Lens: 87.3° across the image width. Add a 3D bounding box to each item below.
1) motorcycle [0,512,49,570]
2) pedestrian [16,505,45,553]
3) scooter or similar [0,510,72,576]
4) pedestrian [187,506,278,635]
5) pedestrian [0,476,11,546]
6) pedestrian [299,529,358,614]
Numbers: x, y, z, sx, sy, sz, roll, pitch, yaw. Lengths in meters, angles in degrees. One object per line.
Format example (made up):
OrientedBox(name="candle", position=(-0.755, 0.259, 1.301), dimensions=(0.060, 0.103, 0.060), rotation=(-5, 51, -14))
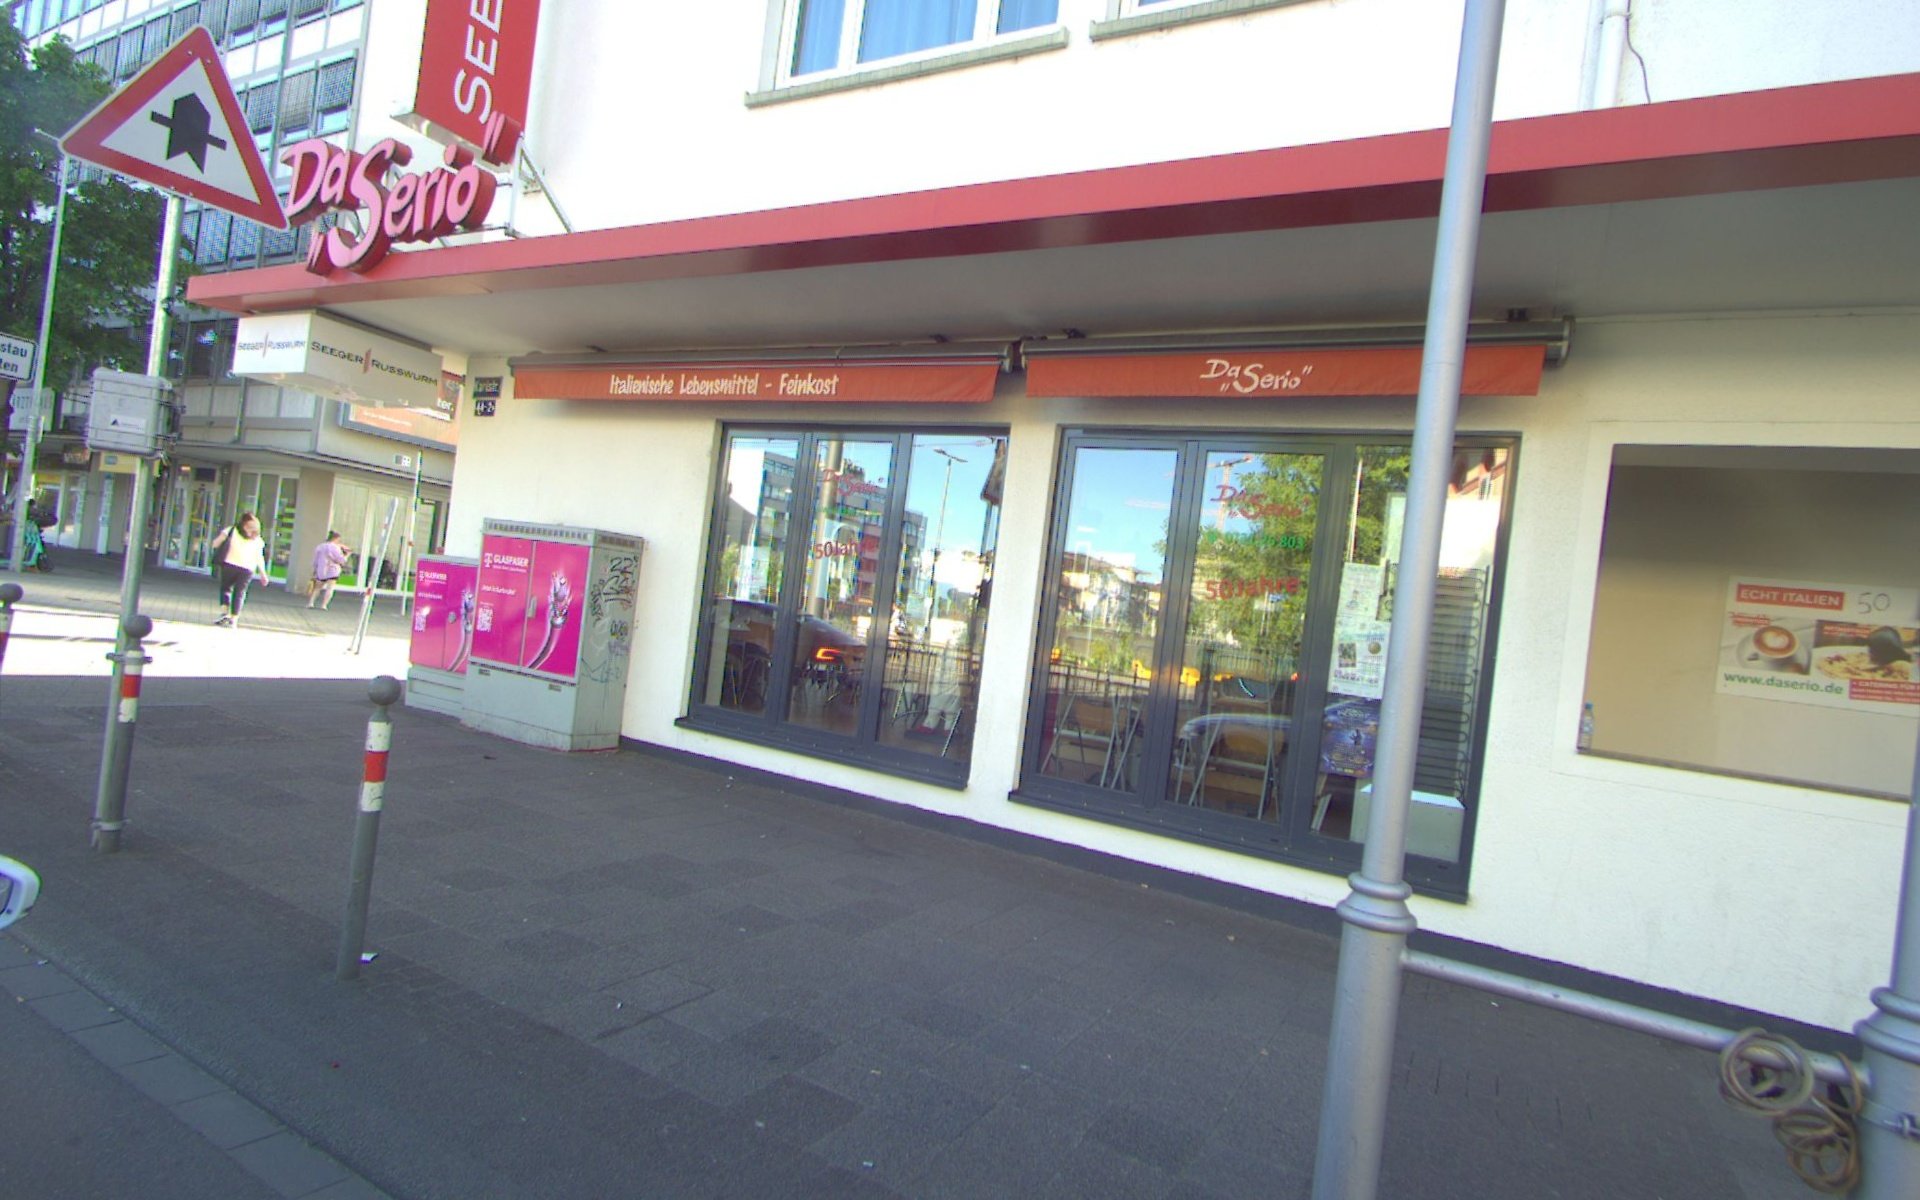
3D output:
OrientedBox(name="motorcycle", position=(-21.578, -1.393, 22.415), dimensions=(0.532, 1.186, 1.711), rotation=(7, -2, 30))
OrientedBox(name="pedestrian", position=(-27.940, -2.133, 30.241), dimensions=(0.504, 1.359, 0.390), rotation=(6, -1, 34))
OrientedBox(name="scooter or similar", position=(-19.946, -1.233, 21.186), dimensions=(1.628, 1.229, 0.640), rotation=(8, -1, -29))
OrientedBox(name="pedestrian", position=(-10.892, -0.440, 15.093), dimensions=(0.909, 1.773, 1.029), rotation=(7, 0, -35))
OrientedBox(name="pedestrian", position=(-28.476, -2.664, 29.472), dimensions=(0.570, 2.037, 0.663), rotation=(6, -1, 34))
OrientedBox(name="pedestrian", position=(-13.557, -0.606, 21.590), dimensions=(0.884, 1.687, 0.801), rotation=(8, -1, -35))
